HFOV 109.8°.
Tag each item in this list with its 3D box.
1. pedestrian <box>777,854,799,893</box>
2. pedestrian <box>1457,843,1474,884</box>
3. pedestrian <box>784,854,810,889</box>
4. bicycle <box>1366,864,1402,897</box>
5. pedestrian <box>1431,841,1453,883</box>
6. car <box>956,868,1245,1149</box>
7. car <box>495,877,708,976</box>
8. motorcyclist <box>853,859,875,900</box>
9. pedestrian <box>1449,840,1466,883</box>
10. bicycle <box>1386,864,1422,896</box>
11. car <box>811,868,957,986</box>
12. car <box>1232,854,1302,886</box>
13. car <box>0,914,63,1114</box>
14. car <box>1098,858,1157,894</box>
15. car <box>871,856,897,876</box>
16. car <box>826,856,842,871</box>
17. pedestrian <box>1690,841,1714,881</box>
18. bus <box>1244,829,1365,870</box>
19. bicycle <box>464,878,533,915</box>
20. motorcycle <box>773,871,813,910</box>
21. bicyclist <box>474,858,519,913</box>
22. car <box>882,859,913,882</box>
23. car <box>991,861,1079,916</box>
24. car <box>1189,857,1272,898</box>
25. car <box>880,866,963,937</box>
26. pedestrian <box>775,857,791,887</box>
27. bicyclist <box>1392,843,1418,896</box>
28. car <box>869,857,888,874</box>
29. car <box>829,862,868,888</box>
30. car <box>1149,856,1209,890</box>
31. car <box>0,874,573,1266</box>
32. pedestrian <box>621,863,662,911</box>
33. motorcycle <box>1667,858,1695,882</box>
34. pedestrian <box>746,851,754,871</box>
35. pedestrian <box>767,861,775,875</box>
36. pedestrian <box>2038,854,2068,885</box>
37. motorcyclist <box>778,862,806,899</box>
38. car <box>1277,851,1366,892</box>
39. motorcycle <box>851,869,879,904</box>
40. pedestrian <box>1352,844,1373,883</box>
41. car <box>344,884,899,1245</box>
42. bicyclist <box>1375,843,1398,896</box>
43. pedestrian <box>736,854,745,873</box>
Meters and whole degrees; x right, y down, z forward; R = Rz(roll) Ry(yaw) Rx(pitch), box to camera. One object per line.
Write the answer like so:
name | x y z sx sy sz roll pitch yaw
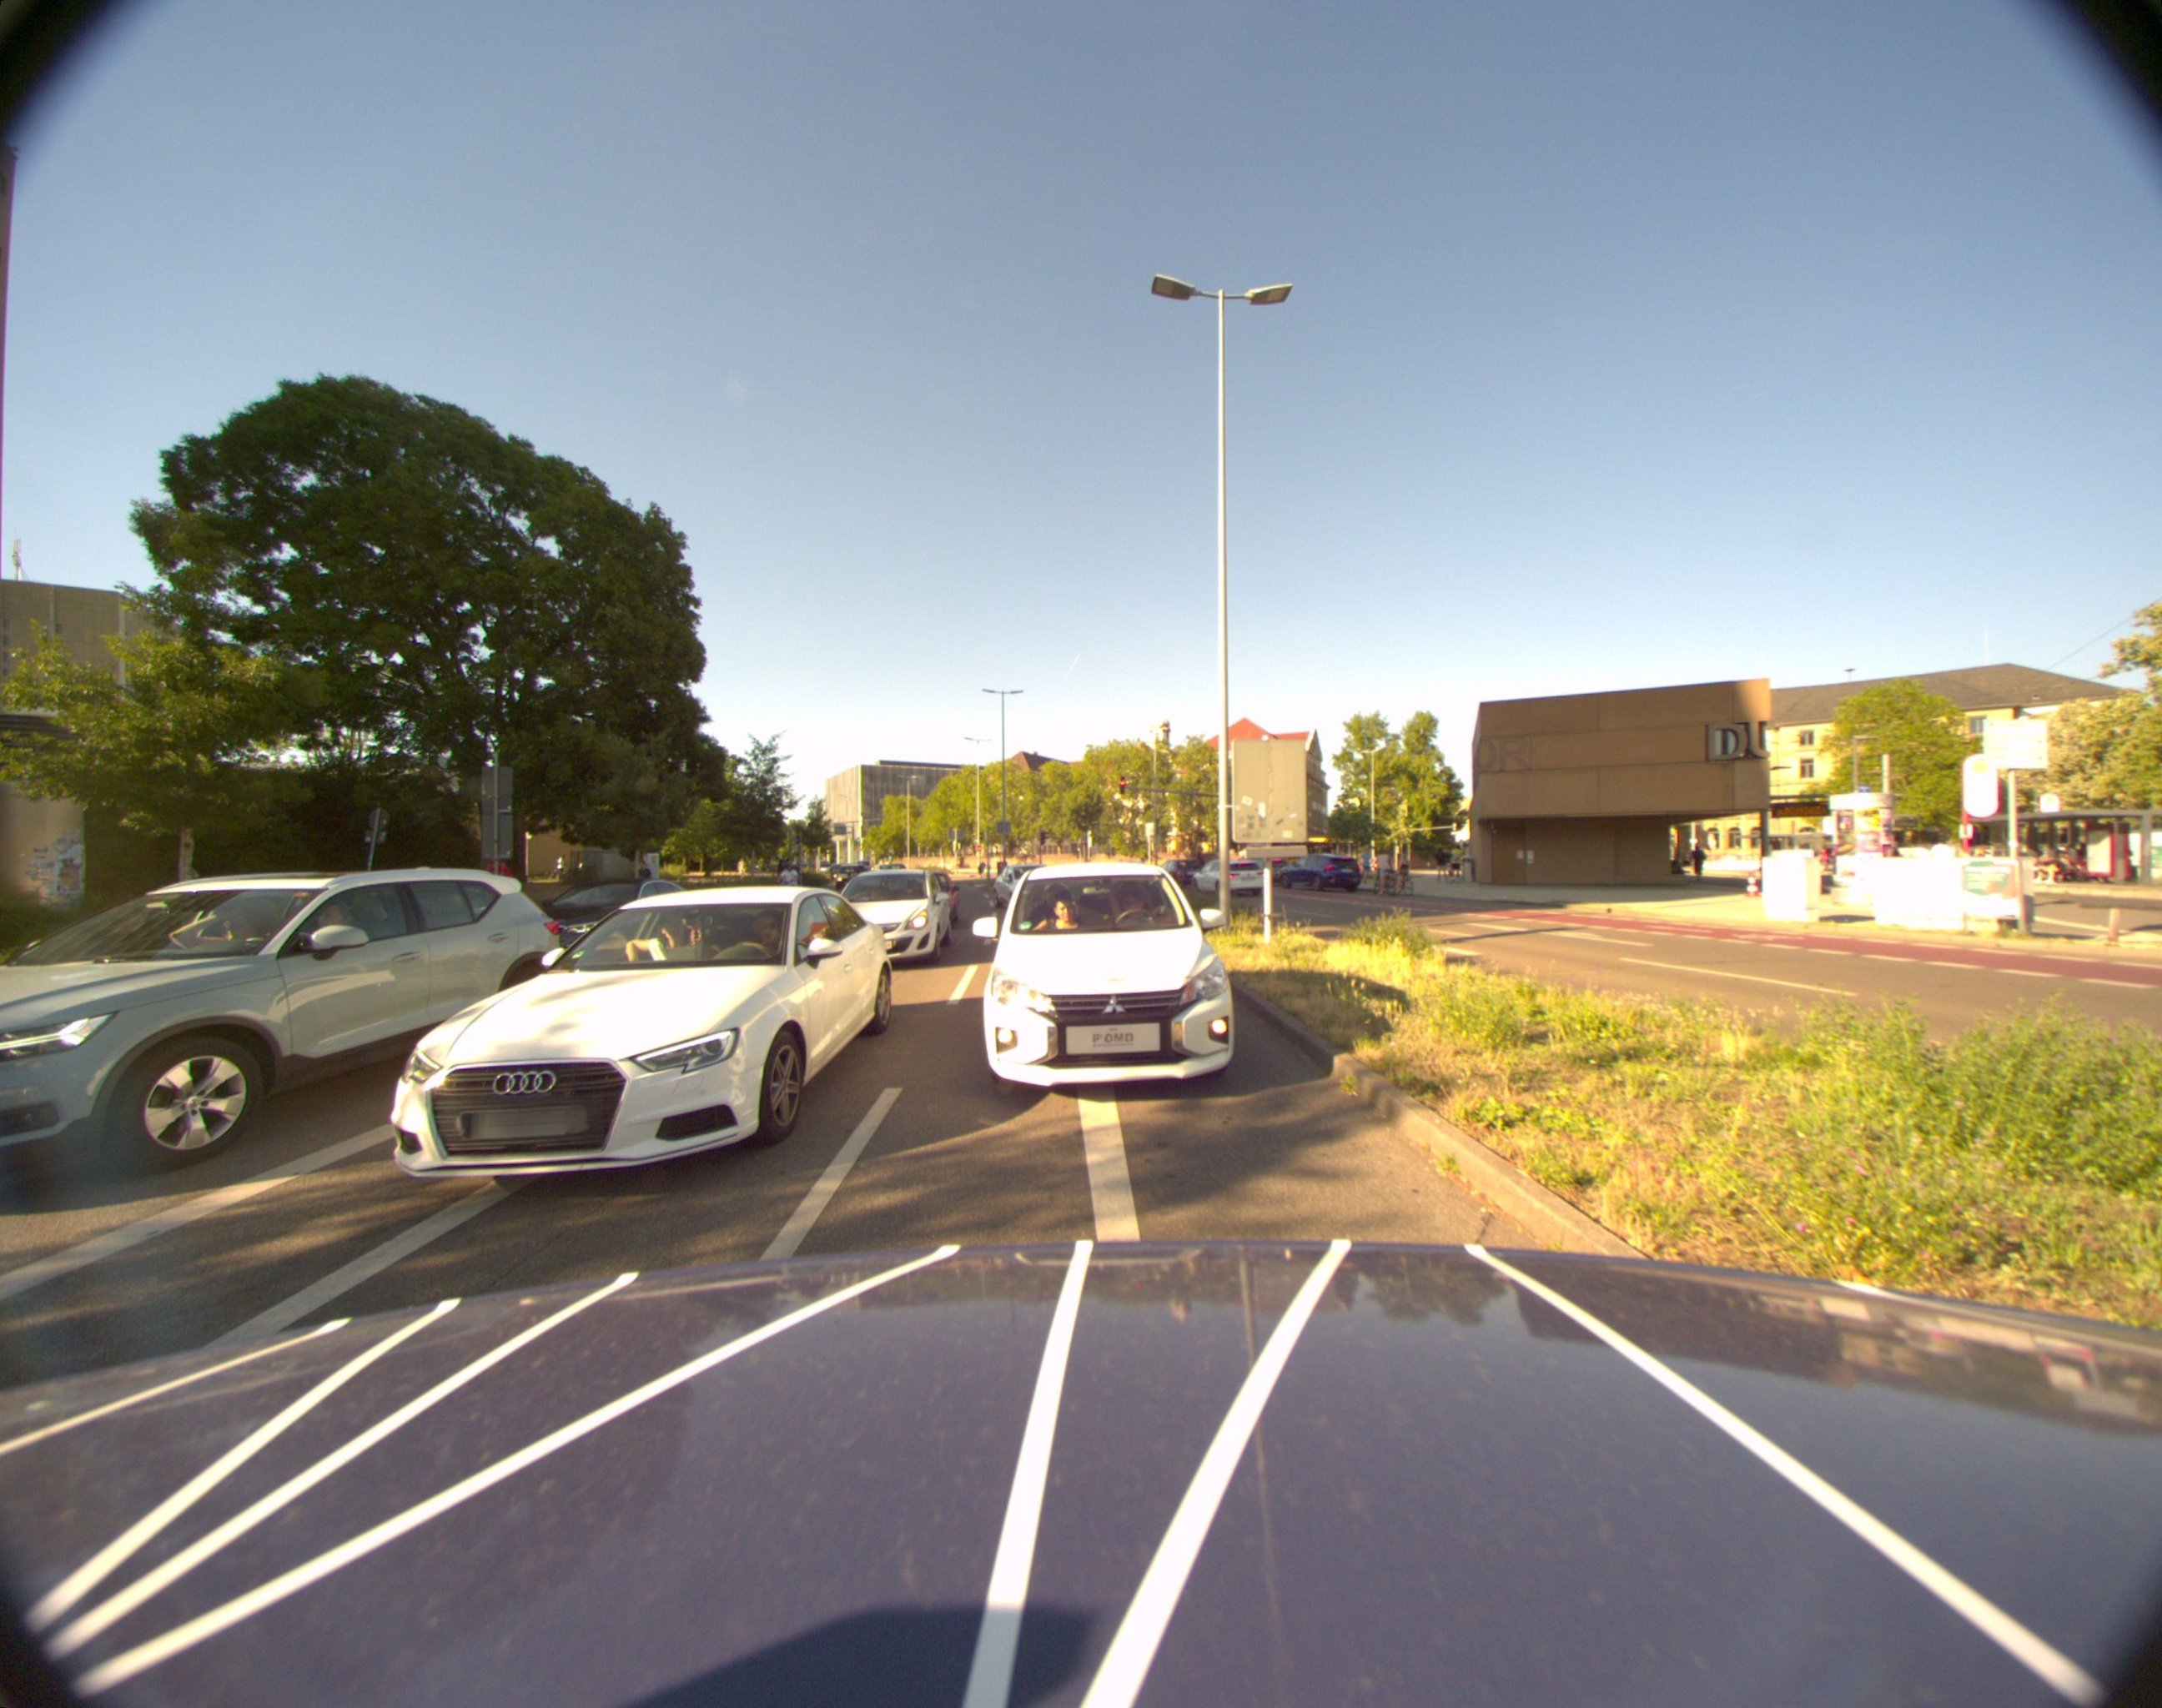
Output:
pedestrian | -15.649 1.019 40.603 0.895 2.002 0.881 -2 1 -10
pedestrian | 19.096 0.453 37.733 0.655 2.002 0.469 -2 1 20
pedestrian | -16.840 1.014 45.139 1.143 2.002 1.285 -2 1 -10
bicycle | 11.716 1.011 29.423 0.464 1.185 1.395 -3 1 -17
pedestrian | 17.839 0.390 37.541 0.777 2.002 0.773 -2 1 13
car | 0.066 0.932 6.435 1.628 1.451 4.040 -2 1 -2
car | -9.151 1.284 14.978 1.756 1.451 4.186 -2 1 -5
motorcyclist | -8.814 1.027 30.928 0.711 1.581 0.689 -2 1 -8
pedestrian | 18.033 0.354 36.403 0.655 2.002 0.469 -2 1 20
bicycle | 12.495 0.981 29.448 0.464 1.185 1.395 -3 1 -17
car | -3.065 1.048 12.581 1.628 1.451 4.039 -2 1 -5
car | 9.478 0.789 39.076 1.850 1.483 4.388 1 0 -10
car | -8.750 1.241 3.885 1.628 1.451 4.040 -2 1 -2
car | 2.114 0.989 35.810 1.757 1.451 4.185 -2 1 -10
car | -17.666 1.062 68.055 1.748 1.696 3.993 -1 0 -21
car | -29.312 1.134 90.173 1.748 1.696 3.993 -1 0 -19
pedestrian | 31.402 0.342 38.423 0.780 2.002 0.771 -3 2 -42
bus | 20.340 -0.444 68.568 12.565 3.193 3.079 -3 1 -34
bicycle | -17.293 1.230 22.616 0.660 0.958 2.033 0 1 -7
motorcycle | -10.640 1.321 28.164 0.718 1.297 2.234 -2 1 -4
bicyclist | -17.265 0.905 22.454 0.617 1.551 0.871 -2 1 -6
car | -13.162 1.132 54.440 1.748 1.536 3.993 -1 0 -20
car | -1.558 1.010 23.909 1.758 1.451 4.182 -2 1 -17
car | 6.046 0.900 31.229 1.850 1.483 4.388 -2 1 -10
car | -3.888 1.097 19.098 1.628 1.451 4.039 -2 1 -7
pedestrian | -16.264 0.969 41.492 0.596 1.585 0.594 -2 1 -8
bicyclist | 12.509 0.590 29.311 0.611 2.002 0.708 -1 1 -15
car | -22.070 1.210 83.071 1.880 1.805 3.995 -1 0 -14
car | -14.275 1.262 46.894 1.746 1.516 3.996 -1 0 -9
car | 4.742 0.885 37.383 1.756 1.451 4.185 -2 1 -9
car | -5.742 1.052 5.259 1.628 1.611 4.223 -2 1 -2
pedestrian | -16.416 1.217 28.410 1.010 1.711 0.884 -2 1 -10
motorcycle | 26.238 0.704 33.229 0.948 1.061 0.331 -1 1 39
pedestrian | -27.007 0.599 61.995 0.548 1.597 0.603 -3 1 -19
pedestrian | -45.138 1.995 110.724 0.840 2.002 1.065 -3 1 -30
pedestrian | 38.978 0.612 30.475 0.539 1.180 0.659 -2 1 29
motorcyclist | -10.639 0.955 27.957 0.718 1.297 0.735 -2 1 -4
car | 10.408 0.713 33.211 1.757 1.680 4.183 -1 0 -14
motorcycle | -8.817 1.295 31.080 0.718 1.297 2.233 -2 1 -7
pedestrian | 13.710 0.451 36.972 0.797 1.886 0.612 0 1 40
car | -2.545 1.036 5.392 1.628 1.396 3.832 -2 1 -2
bicyclist | 11.743 0.599 29.208 0.611 2.002 0.565 -1 1 -15
pedestrian | -27.649 0.754 61.782 0.548 1.521 0.603 -3 1 -19
